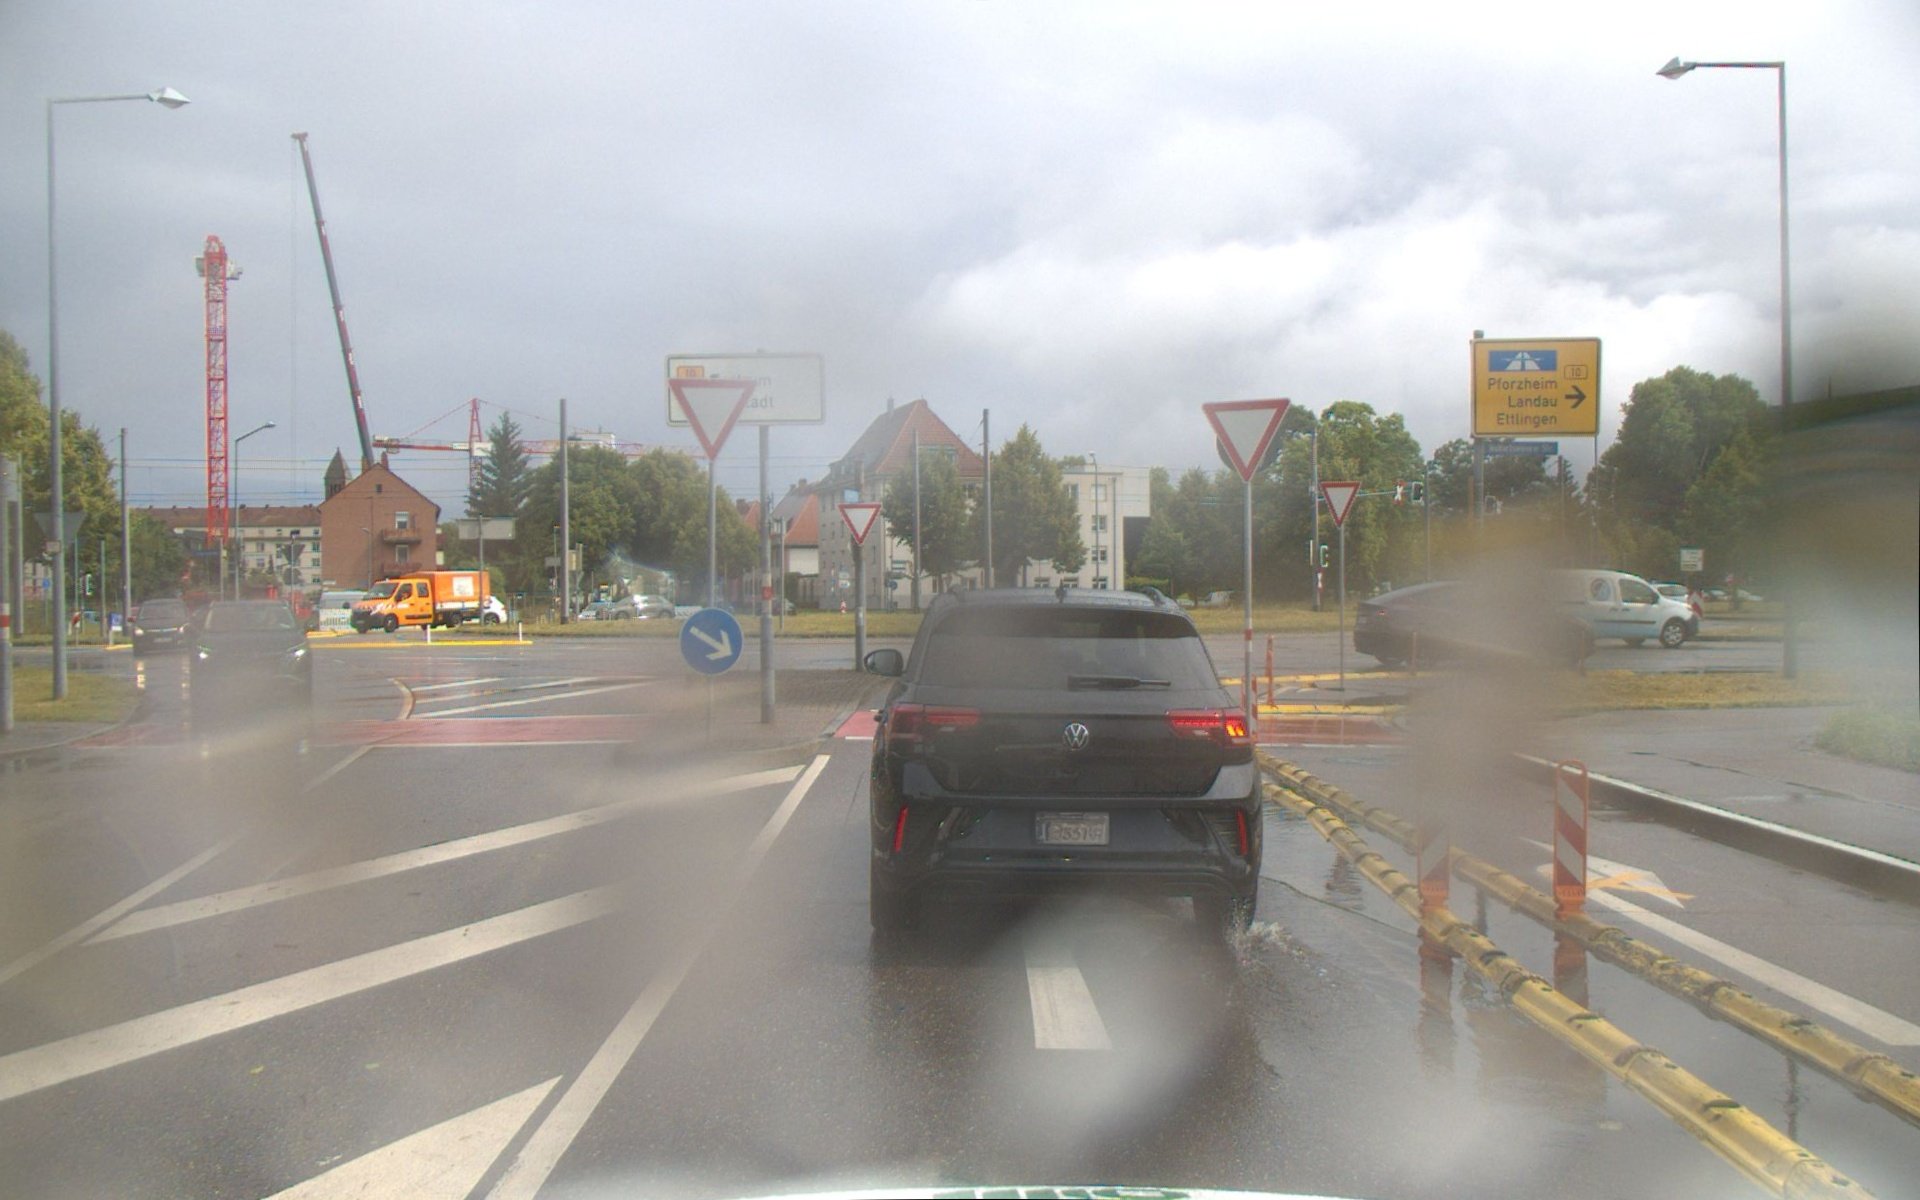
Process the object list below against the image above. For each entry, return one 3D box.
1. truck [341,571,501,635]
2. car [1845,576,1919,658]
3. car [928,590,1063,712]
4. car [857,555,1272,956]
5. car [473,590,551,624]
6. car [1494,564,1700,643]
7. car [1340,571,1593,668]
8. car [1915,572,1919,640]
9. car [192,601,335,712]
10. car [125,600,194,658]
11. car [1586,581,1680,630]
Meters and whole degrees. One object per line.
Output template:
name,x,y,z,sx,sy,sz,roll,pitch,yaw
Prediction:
truck,-23.873,0.087,73.594,2.279,2.696,7.075,0,0,30
car,20.746,0.344,34.459,3.860,1.673,1.671,0,0,20
car,0.506,0.632,22.709,1.699,1.540,3.604,0,0,2
car,0.332,0.629,8.509,1.674,1.601,3.680,0,0,-3
car,-22.443,0.338,82.844,3.470,1.612,1.546,0,0,-38
car,15.256,0.068,39.694,4.311,1.841,1.865,0,0,-12
car,9.762,0.363,32.093,4.255,1.755,1.999,-1,0,-3
car,24.064,0.129,37.134,4.299,1.575,1.870,0,0,22
car,-11.523,0.868,27.598,1.706,1.693,4.091,0,0,-16
car,-24.119,0.842,49.788,1.549,1.677,3.615,0,0,-31
car,26.687,0.217,65.720,1.953,1.862,3.998,-1,0,-2
